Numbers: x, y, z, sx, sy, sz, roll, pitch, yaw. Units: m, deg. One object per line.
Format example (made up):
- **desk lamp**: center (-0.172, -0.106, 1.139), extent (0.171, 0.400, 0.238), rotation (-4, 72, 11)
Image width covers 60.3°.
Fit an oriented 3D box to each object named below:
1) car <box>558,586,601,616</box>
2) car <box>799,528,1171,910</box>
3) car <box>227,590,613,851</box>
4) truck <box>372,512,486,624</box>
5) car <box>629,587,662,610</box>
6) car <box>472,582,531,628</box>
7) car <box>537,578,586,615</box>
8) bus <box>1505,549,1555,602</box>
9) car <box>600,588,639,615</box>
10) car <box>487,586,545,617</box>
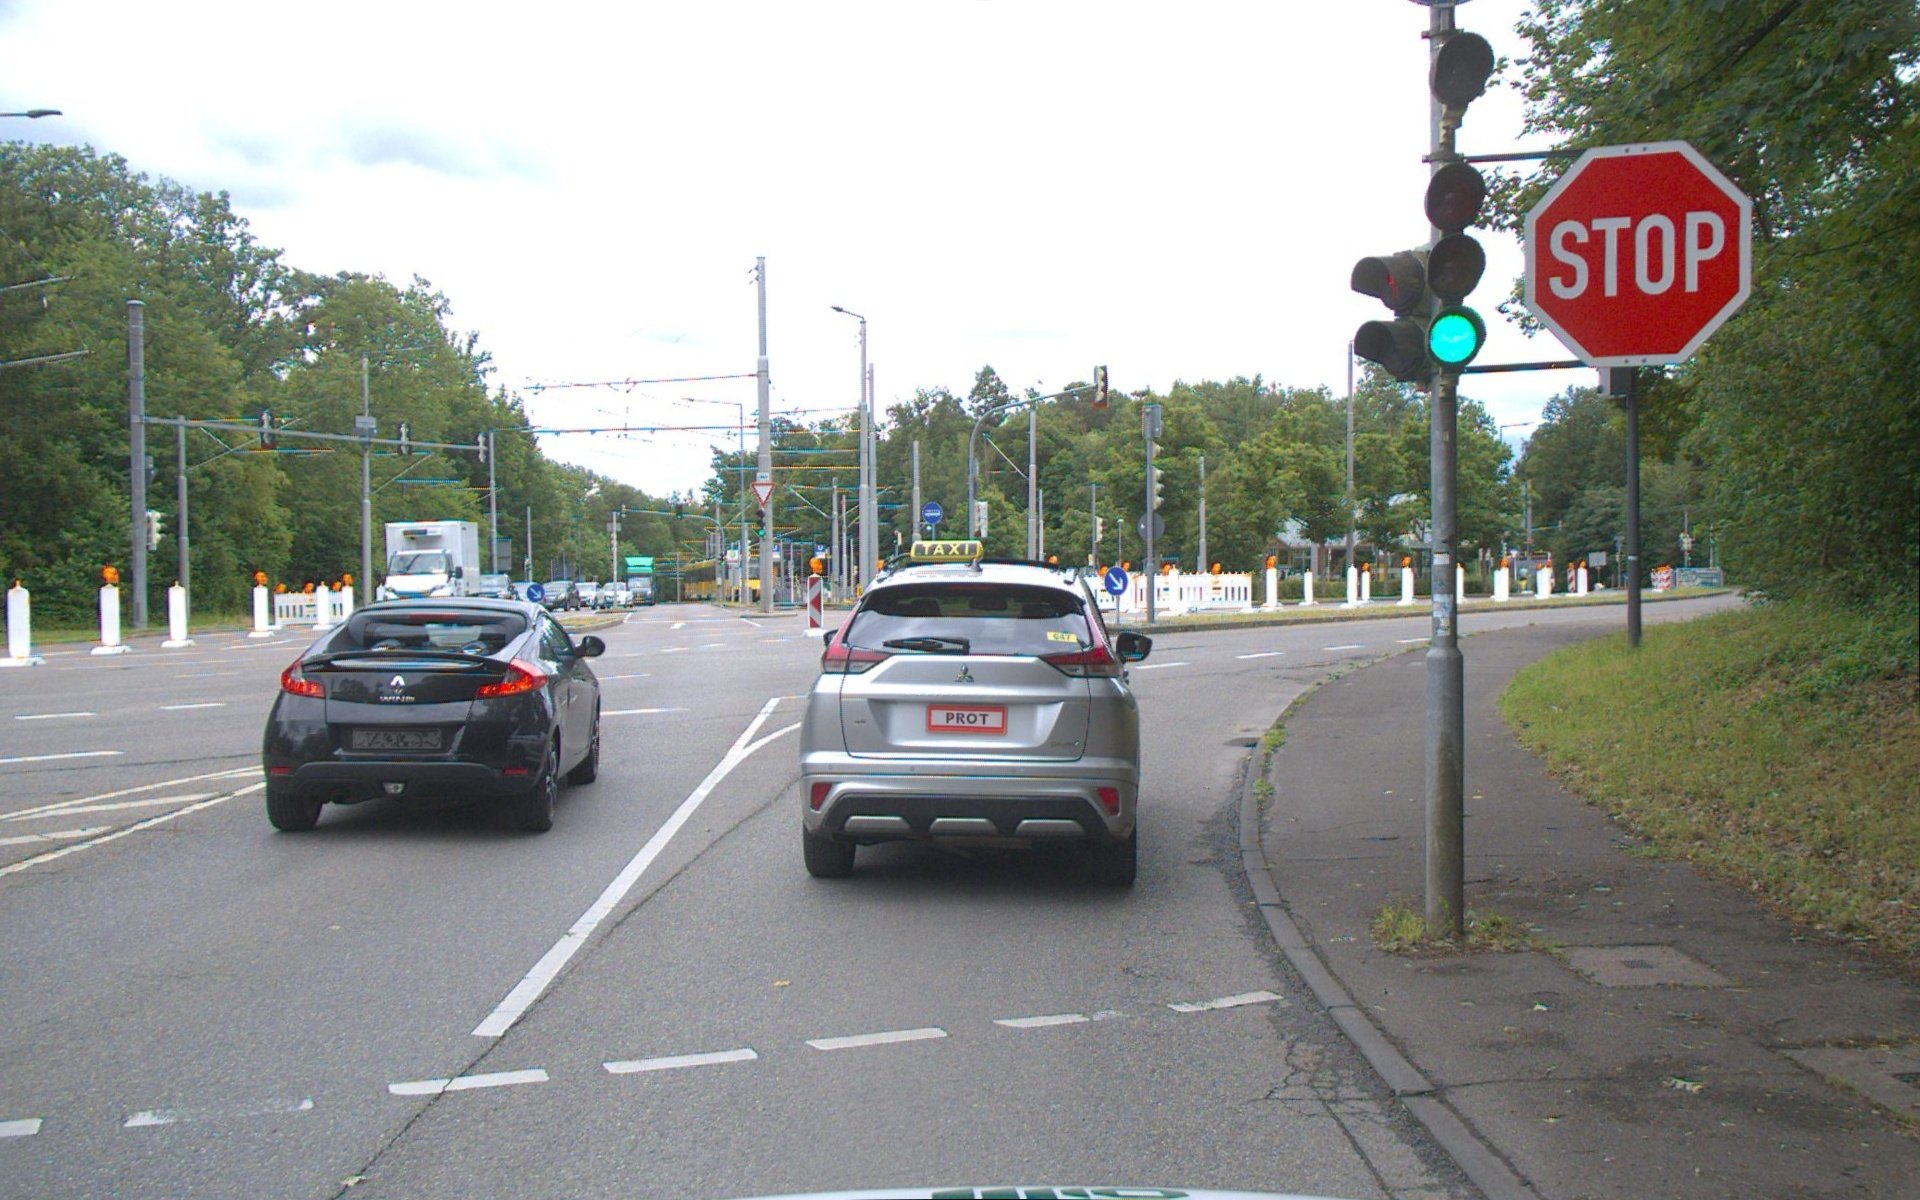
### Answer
- **car**: center (-21.825, 0.046, 94.936), extent (1.925, 1.635, 4.303), rotation (-1, 1, -7)
- **car**: center (0.184, 0.546, 9.690), extent (1.737, 1.778, 3.782), rotation (1, 0, 2)
- **car**: center (-3.369, 0.660, 10.976), extent (1.740, 1.385, 3.471), rotation (-2, 0, -7)
- **truck**: center (-16.900, -0.975, 53.029), extent (2.404, 3.280, 7.138), rotation (-2, 0, -10)
- **car**: center (-21.767, -0.112, 114.522), extent (1.925, 1.567, 4.303), rotation (-1, 1, -7)
- **car**: center (-18.771, 0.183, 67.926), extent (1.927, 1.780, 4.833), rotation (-1, 1, -11)
- **car**: center (-21.043, -0.206, 87.479), extent (1.925, 1.877, 4.682), rotation (-1, 1, -7)
- **bus**: center (41.872, -1.824, 121.819), extent (2.762, 3.666, 12.814), rotation (-1, 1, 16)
- **car**: center (-20.790, 0.053, 101.088), extent (1.925, 1.568, 4.389), rotation (-1, 1, -7)
- **car**: center (-20.547, 0.047, 76.683), extent (1.925, 1.385, 4.682), rotation (-1, 1, -7)
